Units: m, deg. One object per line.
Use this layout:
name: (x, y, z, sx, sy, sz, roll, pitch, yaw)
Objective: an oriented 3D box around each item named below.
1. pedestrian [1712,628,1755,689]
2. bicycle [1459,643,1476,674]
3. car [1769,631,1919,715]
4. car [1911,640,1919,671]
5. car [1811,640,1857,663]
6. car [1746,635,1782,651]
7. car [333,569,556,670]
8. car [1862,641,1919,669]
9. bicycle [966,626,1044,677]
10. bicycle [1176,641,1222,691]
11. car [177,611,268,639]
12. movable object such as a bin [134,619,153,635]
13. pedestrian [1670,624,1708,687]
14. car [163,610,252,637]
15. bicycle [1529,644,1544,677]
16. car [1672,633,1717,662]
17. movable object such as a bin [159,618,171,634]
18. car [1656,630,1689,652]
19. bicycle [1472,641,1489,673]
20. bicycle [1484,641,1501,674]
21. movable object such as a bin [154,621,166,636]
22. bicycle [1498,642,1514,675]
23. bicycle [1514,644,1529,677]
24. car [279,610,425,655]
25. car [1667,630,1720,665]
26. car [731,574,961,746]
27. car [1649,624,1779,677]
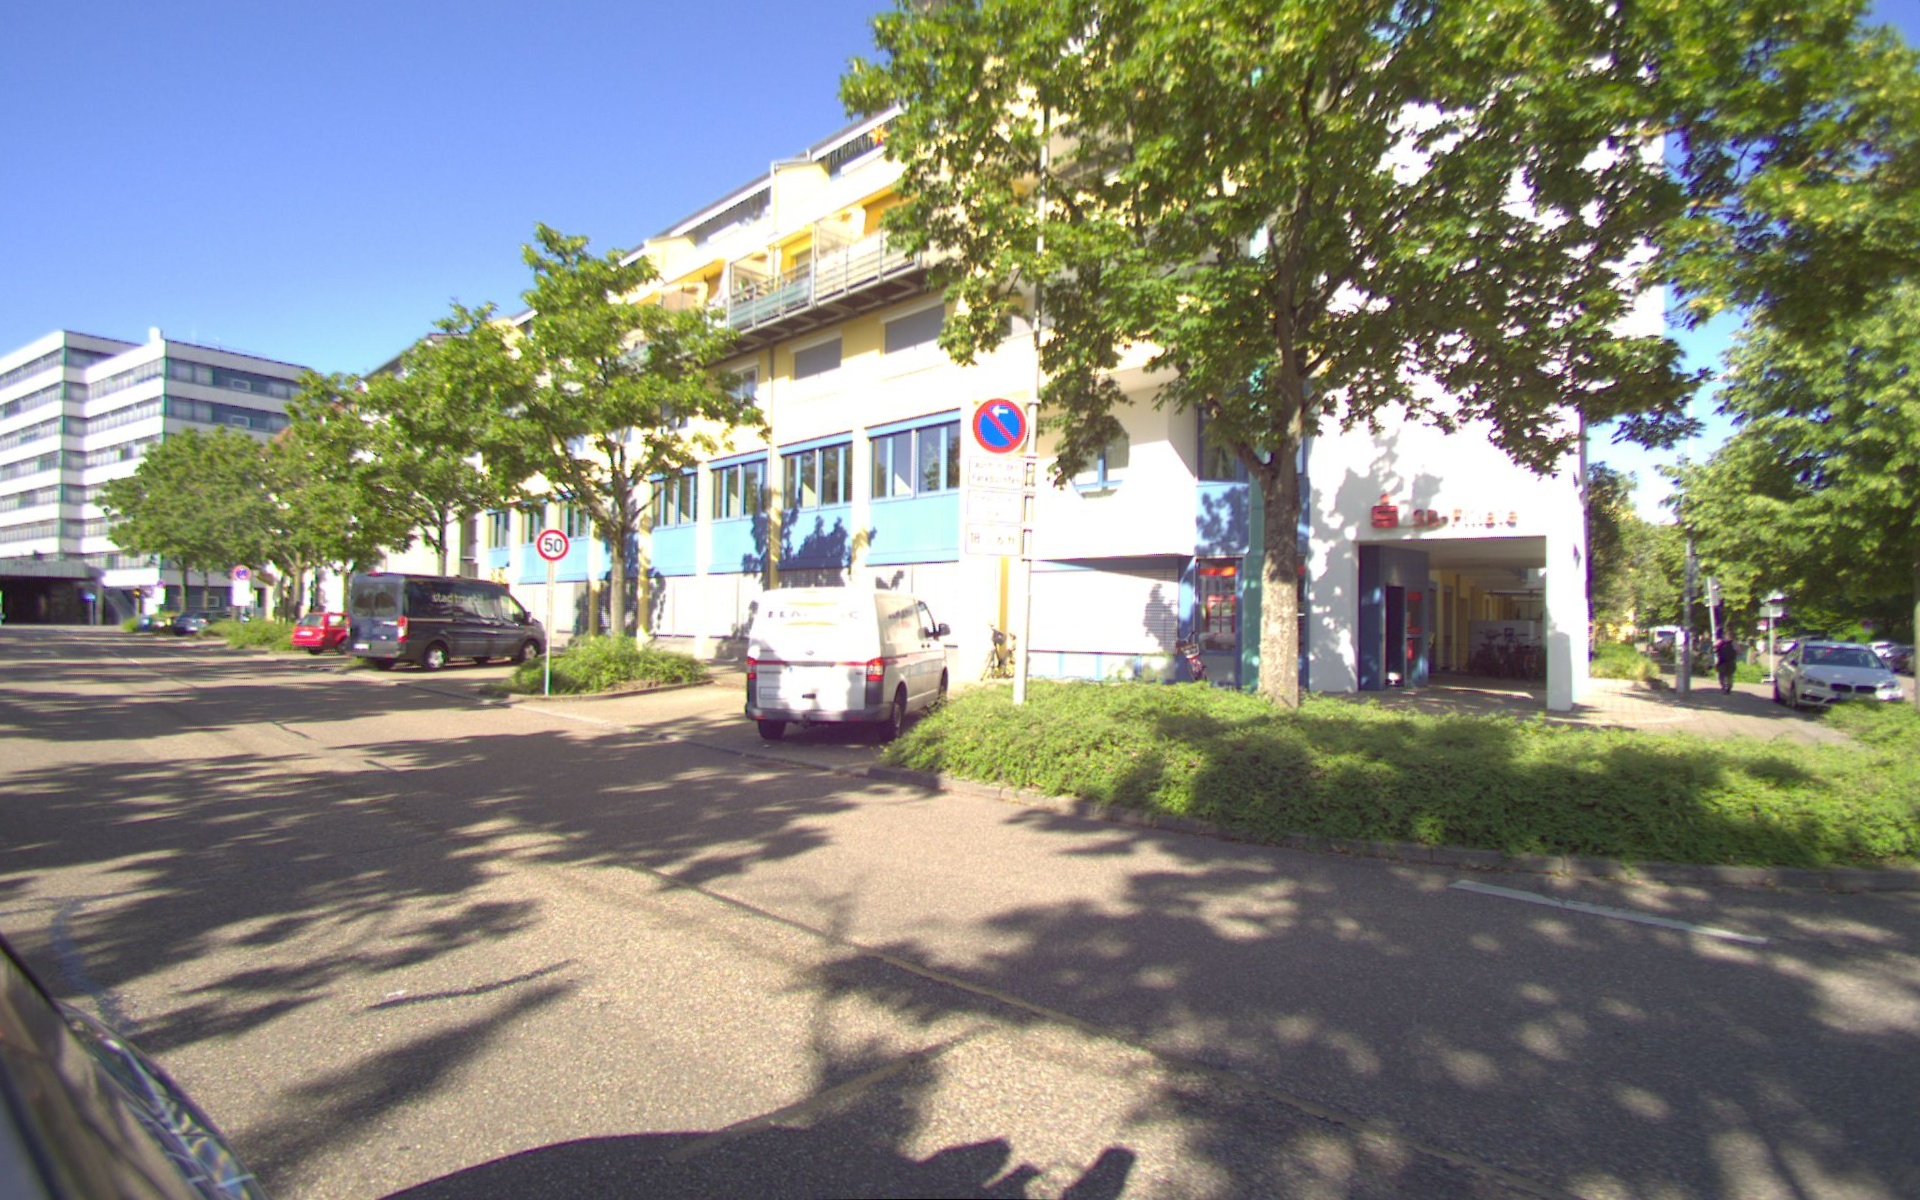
pedestrian: (19.490, 1.453, 25.510, 0.678, 1.500, 0.839, 0, -2, 25)
bicycle: (14.622, 1.680, 29.154, 0.287, 0.878, 1.784, 0, -2, 32)
car: (19.462, 1.512, 22.399, 1.994, 1.606, 4.201, -1, -1, 33)
car: (46.391, 2.597, 47.424, 1.931, 1.516, 3.875, -3, -4, 33)
car: (62.194, 3.659, 72.082, 1.931, 1.515, 3.875, 0, -2, 33)
car: (76.475, 4.120, 96.293, 1.992, 1.441, 4.596, 0, -2, 30)
car: (-13.788, 0.500, 27.536, 2.169, 2.455, 5.471, -1, -1, 19)
car: (54.245, 3.186, 58.969, 1.931, 1.515, 3.875, 0, -2, 33)
bicycle: (1.036, 1.174, 22.973, 1.777, 1.106, 0.702, 4, -3, -44)
bicycle: (4.753, 1.282, 20.067, 0.489, 0.878, 1.788, 0, 0, 26)
car: (-41.545, 1.385, 57.104, 1.792, 1.475, 3.985, 0, 0, 12)
movable object such as a bin: (-53.386, 1.763, 66.173, 0.665, 1.082, 0.805, 2, -2, -19)
pedestrian: (18.179, 1.367, 25.248, 0.717, 1.525, 0.790, 0, 0, 31)
car: (-43.608, 1.342, 58.765, 1.792, 1.475, 3.985, 0, 0, 12)
bicycle: (16.033, 1.681, 28.118, 0.287, 0.878, 1.784, 0, -2, 32)
car: (47.492, 3.058, 65.474, 1.837, 1.819, 3.960, 0, -2, 29)
movable object such as a bin: (-52.883, 1.719, 67.289, 0.469, 1.048, 0.544, 0, 0, -19)
car: (60.852, 3.530, 86.510, 1.837, 1.819, 3.960, 0, -2, 29)
bicycle: (14.893, 1.625, 28.939, 0.287, 0.878, 1.784, 0, -2, 32)
bicycle: (15.129, 1.625, 28.737, 0.287, 0.878, 1.784, 0, -2, 32)
movable object such as a bin: (-52.545, 1.857, 66.450, 0.469, 0.967, 0.544, 0, 0, -22)
bicycle: (15.400, 1.635, 28.514, 0.287, 0.878, 1.784, 0, -2, 32)
bicycle: (15.715, 1.680, 28.325, 0.287, 0.878, 1.784, 0, -2, 32)
car: (-21.202, 1.094, 35.482, 1.758, 1.487, 4.203, -1, -1, 22)
car: (39.469, 2.532, 54.537, 1.837, 1.819, 3.960, 0, -2, 29)
car: (-1.377, 0.746, 14.337, 1.978, 2.000, 4.755, -1, -1, 10)
car: (30.421, 2.002, 40.993, 3.986, 2.029, 1.979, 0, -2, 31)
